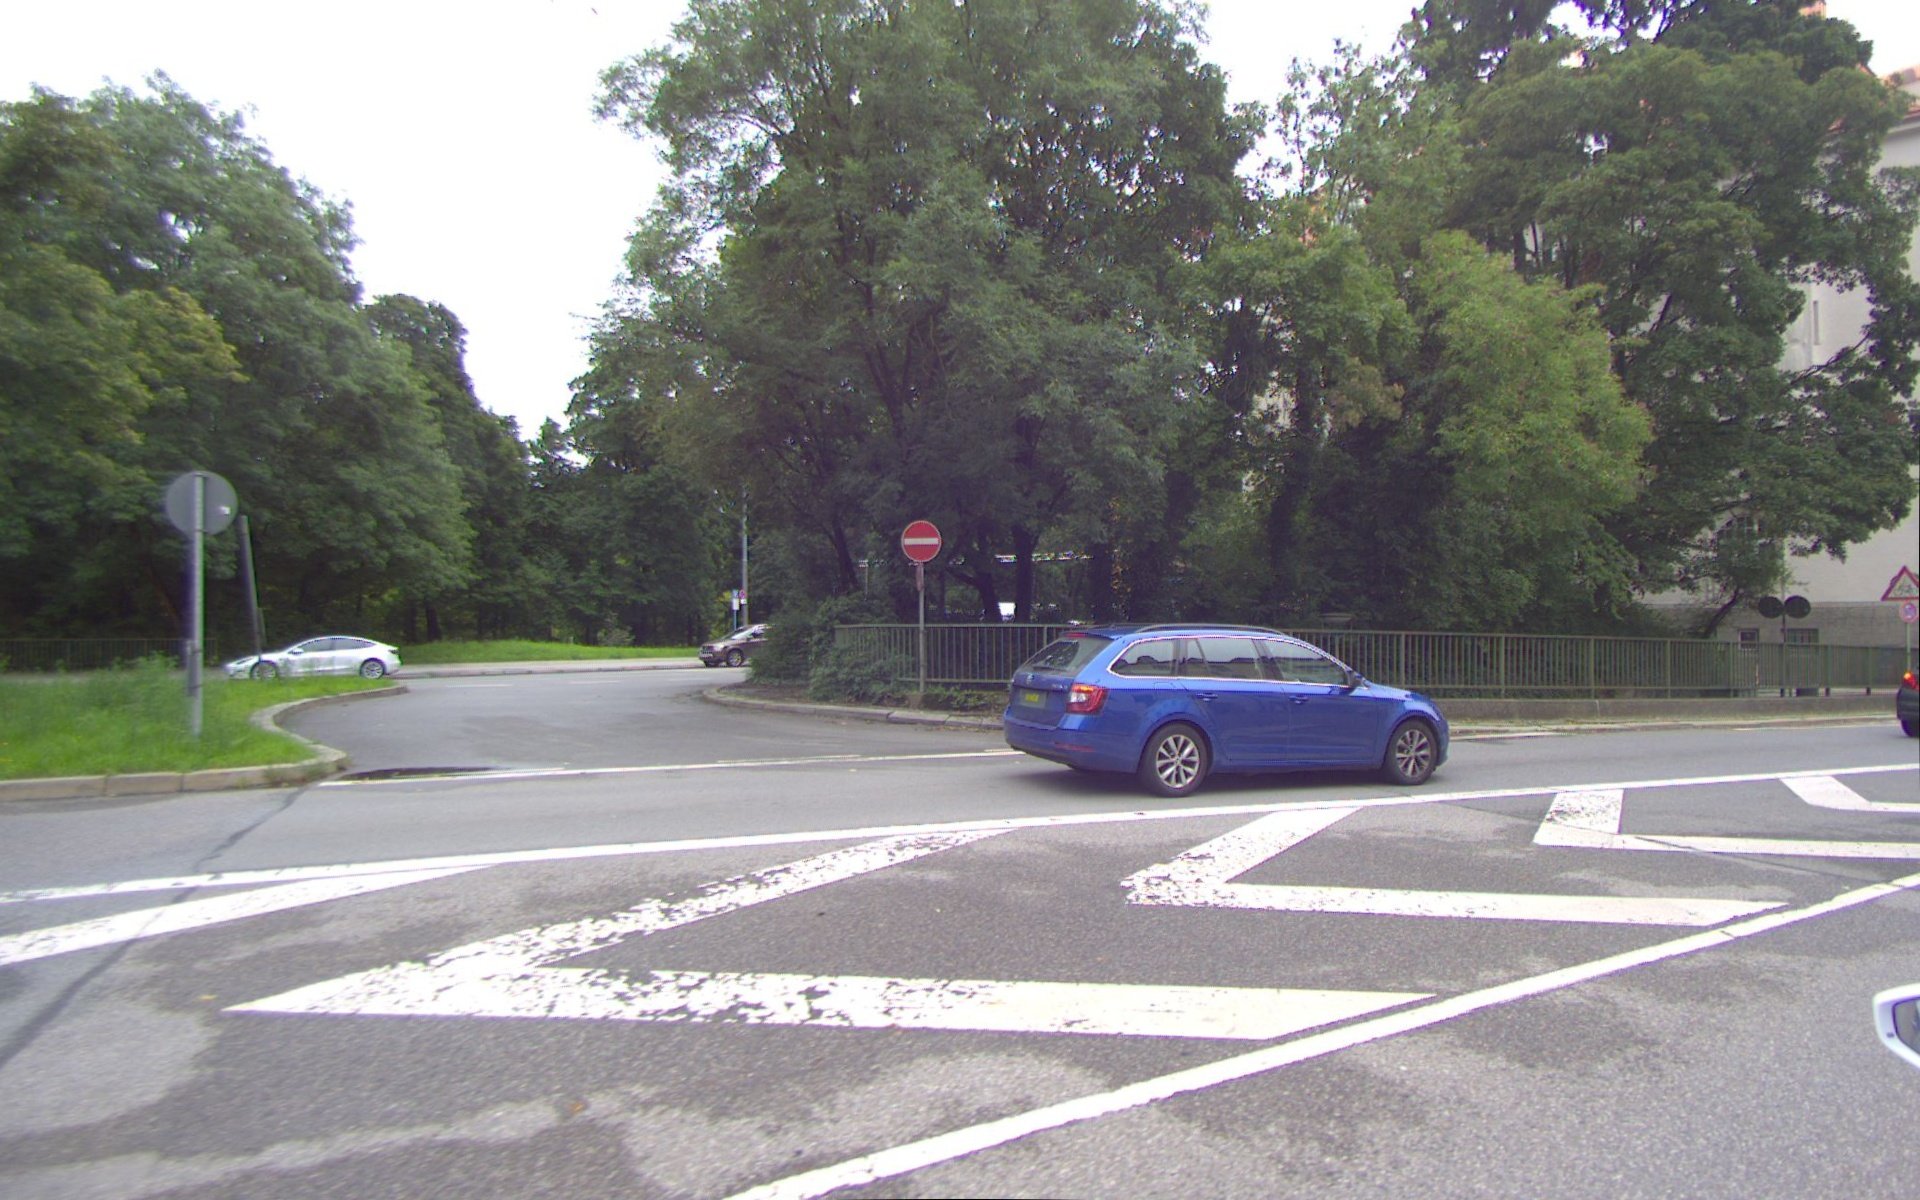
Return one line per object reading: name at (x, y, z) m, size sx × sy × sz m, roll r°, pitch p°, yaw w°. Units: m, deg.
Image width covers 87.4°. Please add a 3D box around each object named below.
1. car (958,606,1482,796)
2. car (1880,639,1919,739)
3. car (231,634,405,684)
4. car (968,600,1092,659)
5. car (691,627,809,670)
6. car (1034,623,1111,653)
car at (2.496, 0.858, 9.662) m, size 4.667 × 1.473 × 1.983 m, roll 1°, pitch -2°, yaw -23°
car at (16.154, 1.331, 15.231) m, size 4.016 × 1.480 × 1.755 m, roll 1°, pitch -2°, yaw -23°
car at (-20.254, 1.834, 31.798) m, size 4.391 × 1.465 × 1.976 m, roll 2°, pitch -4°, yaw -42°
car at (2.946, 1.257, 41.625) m, size 5.091 × 2.299 × 2.280 m, roll 2°, pitch -3°, yaw -42°
car at (-8.958, 2.073, 43.053) m, size 4.615 × 1.740 × 1.976 m, roll 2°, pitch -4°, yaw -42°
car at (5.744, 1.938, 50.976) m, size 1.869 × 1.465 × 4.279 m, roll -2°, pitch -3°, yaw 40°
